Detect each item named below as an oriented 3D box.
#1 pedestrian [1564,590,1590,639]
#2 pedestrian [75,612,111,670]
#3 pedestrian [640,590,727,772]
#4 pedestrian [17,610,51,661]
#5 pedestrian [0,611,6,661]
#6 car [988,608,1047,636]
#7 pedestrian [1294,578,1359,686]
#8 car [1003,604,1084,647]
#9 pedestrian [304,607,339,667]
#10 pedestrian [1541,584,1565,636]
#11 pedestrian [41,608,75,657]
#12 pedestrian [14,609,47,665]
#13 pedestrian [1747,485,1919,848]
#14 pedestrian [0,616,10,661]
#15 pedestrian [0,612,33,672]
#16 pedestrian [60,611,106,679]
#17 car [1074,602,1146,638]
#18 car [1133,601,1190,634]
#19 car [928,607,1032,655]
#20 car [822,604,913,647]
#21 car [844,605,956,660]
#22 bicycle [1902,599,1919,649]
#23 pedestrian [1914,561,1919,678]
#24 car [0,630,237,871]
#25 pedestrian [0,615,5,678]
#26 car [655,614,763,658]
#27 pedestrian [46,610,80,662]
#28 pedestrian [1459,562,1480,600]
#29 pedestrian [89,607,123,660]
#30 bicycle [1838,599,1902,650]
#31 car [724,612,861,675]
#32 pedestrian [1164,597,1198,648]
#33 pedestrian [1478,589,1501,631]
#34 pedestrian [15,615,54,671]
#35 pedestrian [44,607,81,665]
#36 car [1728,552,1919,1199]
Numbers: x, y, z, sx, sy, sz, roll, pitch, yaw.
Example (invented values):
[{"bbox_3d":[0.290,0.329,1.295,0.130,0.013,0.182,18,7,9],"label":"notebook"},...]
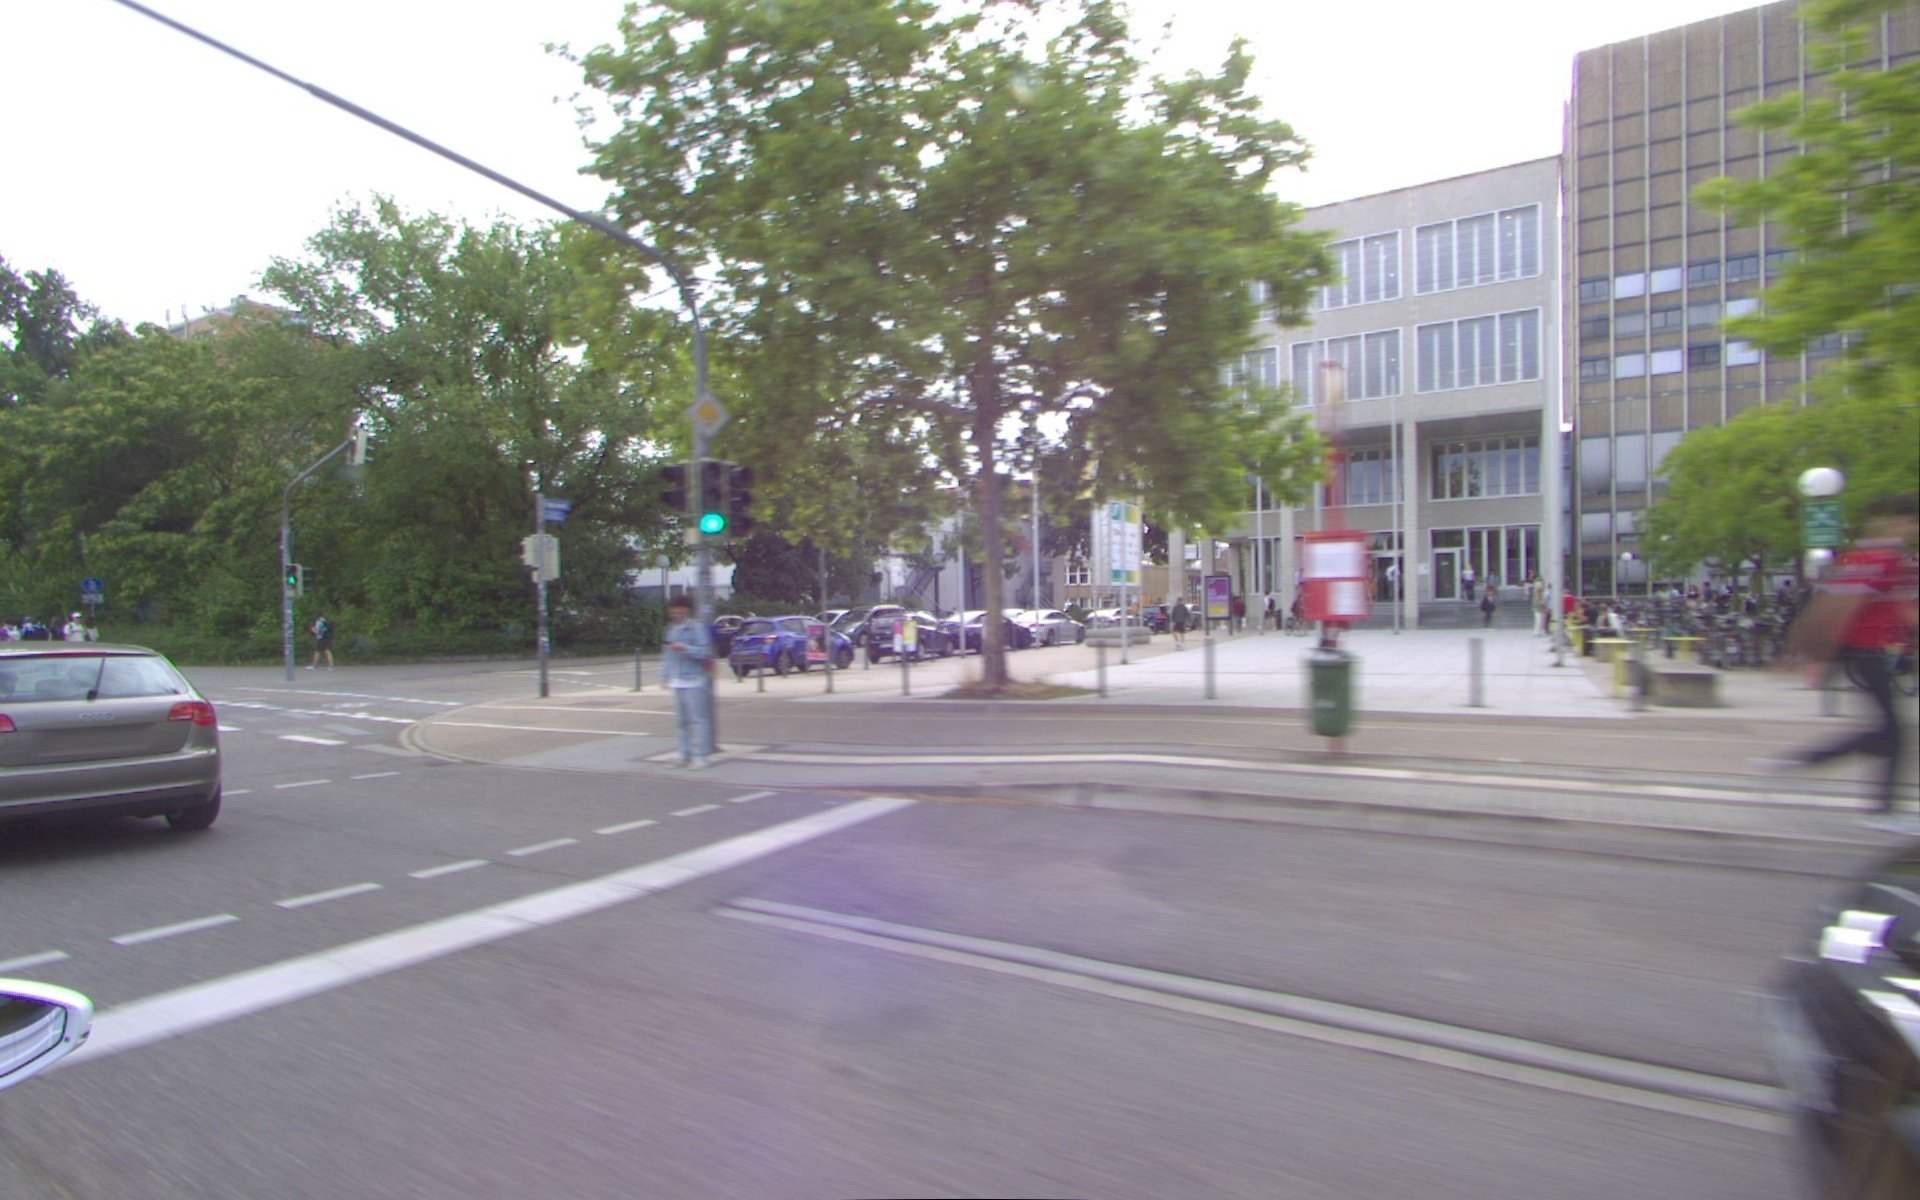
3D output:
[{"bbox_3d":[20.798,0.495,33.782,0.592,1.617,0.726,-1,-1,19],"label":"pedestrian"},{"bbox_3d":[-27.341,1.287,31.576,0.769,1.768,0.655,-1,1,33],"label":"pedestrian"},{"bbox_3d":[-2.903,0.826,10.521,0.672,1.841,0.571,-1,0,35],"label":"pedestrian"},{"bbox_3d":[-31.736,1.219,34.328,0.830,1.712,0.655,-1,1,33],"label":"pedestrian"},{"bbox_3d":[-36.093,1.334,37.270,0.801,1.845,0.654,-1,1,35],"label":"pedestrian"},{"bbox_3d":[3.203,1.175,55.258,1.660,1.460,3.764,-2,-1,32],"label":"car"},{"bbox_3d":[6.434,0.558,17.582,0.880,1.827,0.765,-1,-1,37],"label":"pedestrian"},{"bbox_3d":[3.340,1.000,39.620,1.650,1.587,3.813,-2,-1,31],"label":"car"},{"bbox_3d":[-19.775,1.141,30.994,0.730,1.819,0.643,-1,0,33],"label":"pedestrian"},{"bbox_3d":[21.327,0.375,36.026,0.592,1.867,0.727,-1,-1,17],"label":"pedestrian"},{"bbox_3d":[-32.075,1.146,35.601,0.957,1.689,0.655,-1,1,33],"label":"pedestrian"},{"bbox_3d":[-29.701,1.168,31.993,0.778,1.768,0.579,-1,1,33],"label":"pedestrian"},{"bbox_3d":[5.081,0.348,5.518,1.049,1.878,0.724,-1,0,30],"label":"pedestrian"},{"bbox_3d":[-37.764,1.511,39.342,0.655,1.787,0.483,-1,1,35],"label":"pedestrian"},{"bbox_3d":[-28.448,1.264,30.113,0.769,1.768,0.622,-1,1,33],"label":"pedestrian"},{"bbox_3d":[-24.420,1.254,27.882,0.815,1.876,0.645,-1,-1,21],"label":"pedestrian"},{"bbox_3d":[6.990,0.905,46.266,1.789,1.587,4.207,-2,-1,31],"label":"car"},{"bbox_3d":[10.460,0.884,51.753,1.650,1.587,3.969,-2,-1,31],"label":"car"},{"bbox_3d":[0.784,1.052,35.082,1.650,1.587,4.431,-2,-1,31],"label":"car"},{"bbox_3d":[-3.911,1.073,43.016,1.660,1.714,4.272,-2,-1,32],"label":"car"},{"bbox_3d":[-1.783,0.982,30.940,1.650,1.587,3.677,-2,-1,31],"label":"car"},{"bbox_3d":[22.556,0.550,23.138,0.708,1.157,2.460,-1,-1,33],"label":"bicycle"},{"bbox_3d":[16.716,0.325,16.871,0.591,1.988,0.686,0,-1,-7],"label":"pedestrian"},{"bbox_3d":[-7.252,0.991,7.687,3.687,1.476,1.718,-1,0,36],"label":"car"},{"bbox_3d":[-26.451,1.275,27.228,0.628,1.709,0.544,-1,0,33],"label":"pedestrian"},{"bbox_3d":[-8.903,1.265,35.709,1.660,1.460,3.564,-2,-1,32],"label":"car"},{"bbox_3d":[-30.311,1.221,33.834,0.769,1.722,0.655,-1,1,33],"label":"pedestrian"},{"bbox_3d":[23.609,-0.873,46.382,0.665,1.736,0.626,1,-1,-41],"label":"pedestrian"},{"bbox_3d":[-28.976,1.136,33.958,0.769,1.768,0.655,-1,1,33],"label":"pedestrian"},{"bbox_3d":[21.566,0.561,23.782,0.708,1.157,2.460,-1,-1,33],"label":"bicycle"},{"bbox_3d":[-4.388,1.121,26.652,1.650,1.511,3.565,-2,-1,31],"label":"car"},{"bbox_3d":[7.554,0.770,34.234,0.944,1.730,0.696,1,-1,-40],"label":"pedestrian"},{"bbox_3d":[21.370,0.404,40.440,0.625,1.661,0.599,0,-1,-34],"label":"pedestrian"},{"bbox_3d":[-30.730,1.416,33.248,0.944,1.790,0.655,-1,3,33],"label":"pedestrian"},{"bbox_3d":[-27.827,1.121,31.044,0.769,1.768,0.655,-1,1,33],"label":"pedestrian"},{"bbox_3d":[3.442,0.717,0.978,4.118,1.576,1.796,-1,-2,33],"label":"car"}]
